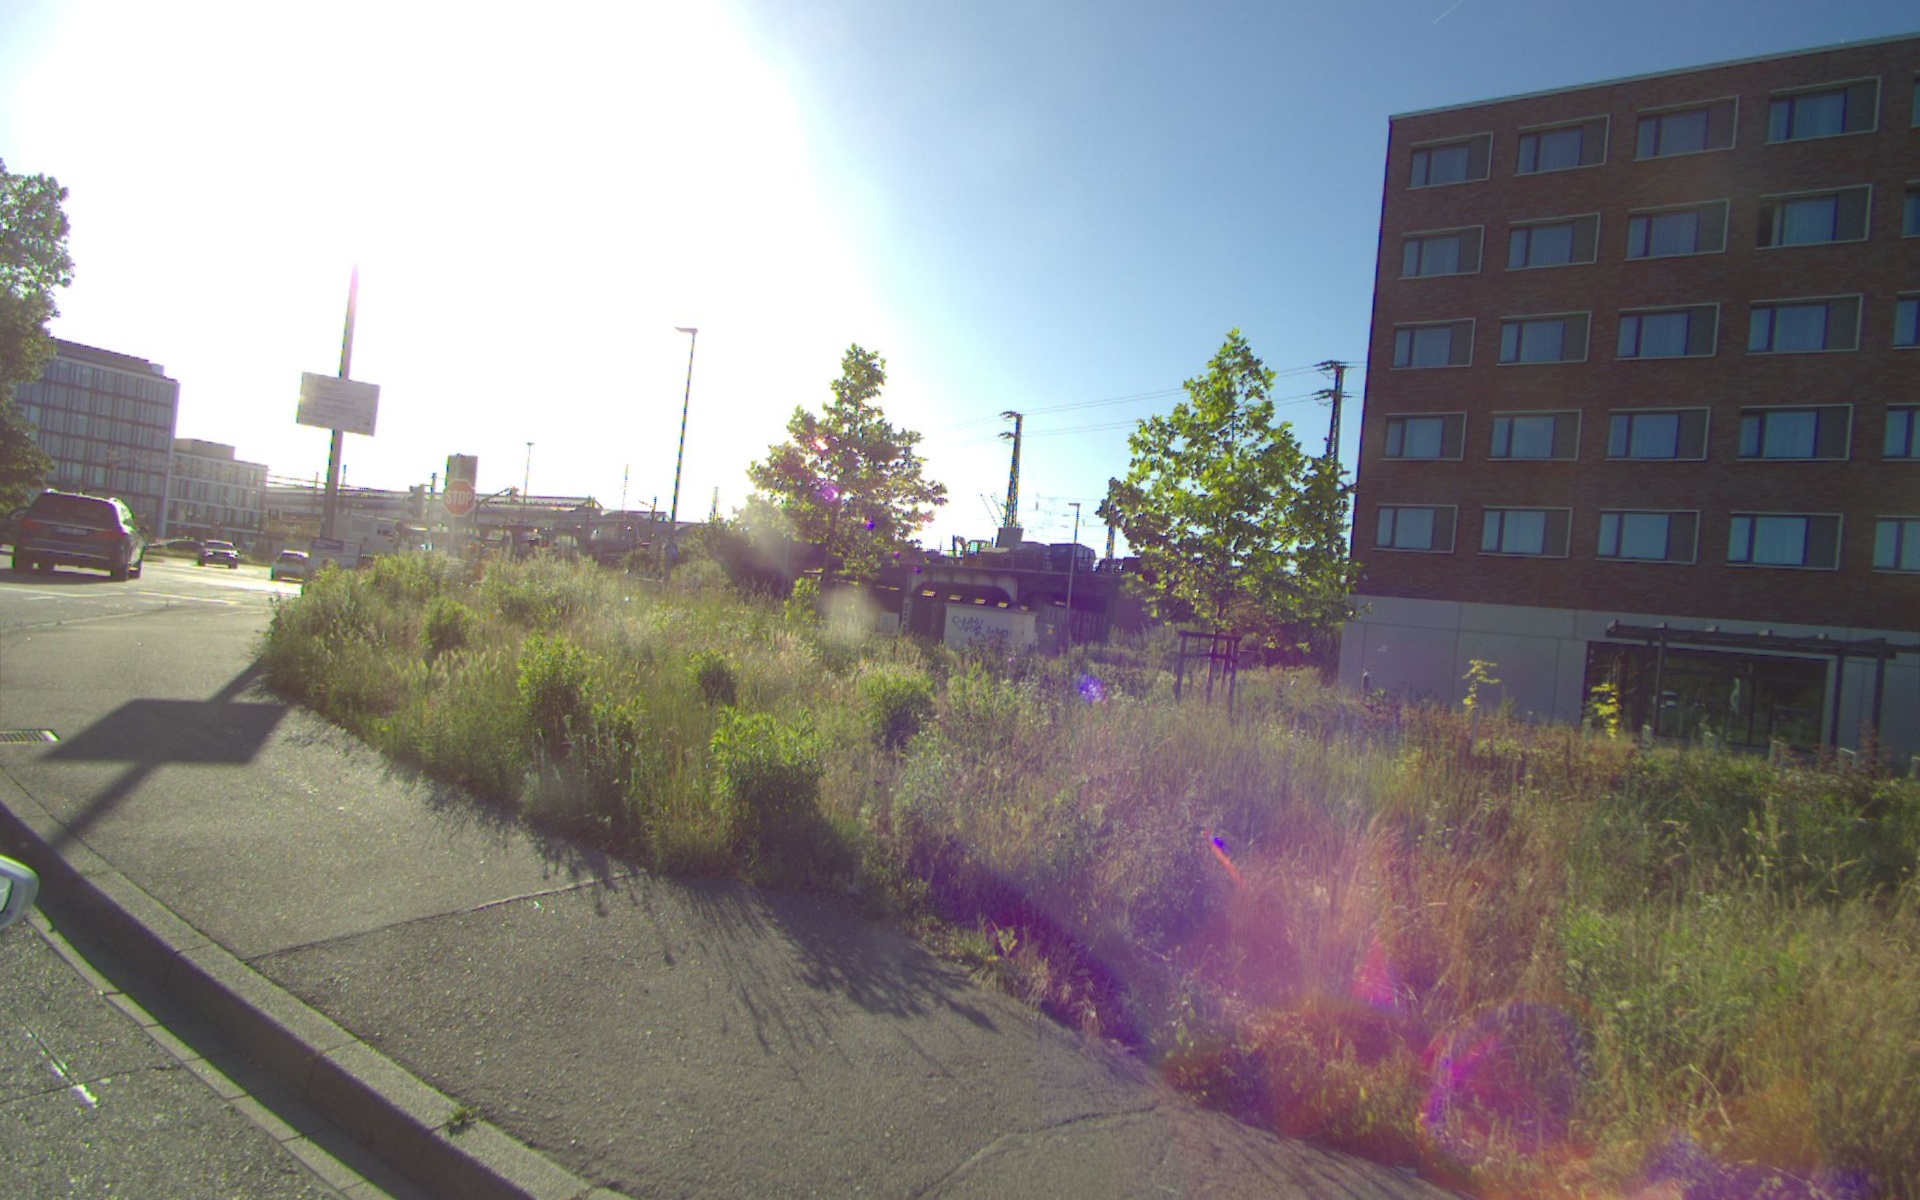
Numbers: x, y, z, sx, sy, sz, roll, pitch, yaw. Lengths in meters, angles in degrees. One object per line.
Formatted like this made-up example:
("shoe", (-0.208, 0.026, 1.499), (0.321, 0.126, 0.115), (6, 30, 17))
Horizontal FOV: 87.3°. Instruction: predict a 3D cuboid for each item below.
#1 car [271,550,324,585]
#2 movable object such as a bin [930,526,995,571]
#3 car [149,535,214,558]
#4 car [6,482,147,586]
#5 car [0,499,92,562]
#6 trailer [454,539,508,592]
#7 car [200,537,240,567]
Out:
("car", (-33.173, -1.622, 50.431), (1.734, 1.494, 3.972), (7, -1, -28))
("movable object such as a bin", (0.234, -3.405, 67.553), (1.967, 2.251, 4.825), (6, -2, 31))
("car", (-92.175, -6.270, 119.228), (1.883, 1.866, 5.720), (7, -2, 26))
("car", (-20.282, -1.490, 23.291), (2.104, 1.910, 4.761), (7, -2, -39))
("car", (-31.080, -2.381, 33.921), (4.140, 1.733, 1.941), (6, -1, 39))
("trailer", (-35.624, -2.510, 74.710), (2.972, 3.329, 6.623), (8, -2, -28))
("car", (-44.292, -2.876, 60.245), (1.738, 1.494, 3.962), (7, -1, -35))
